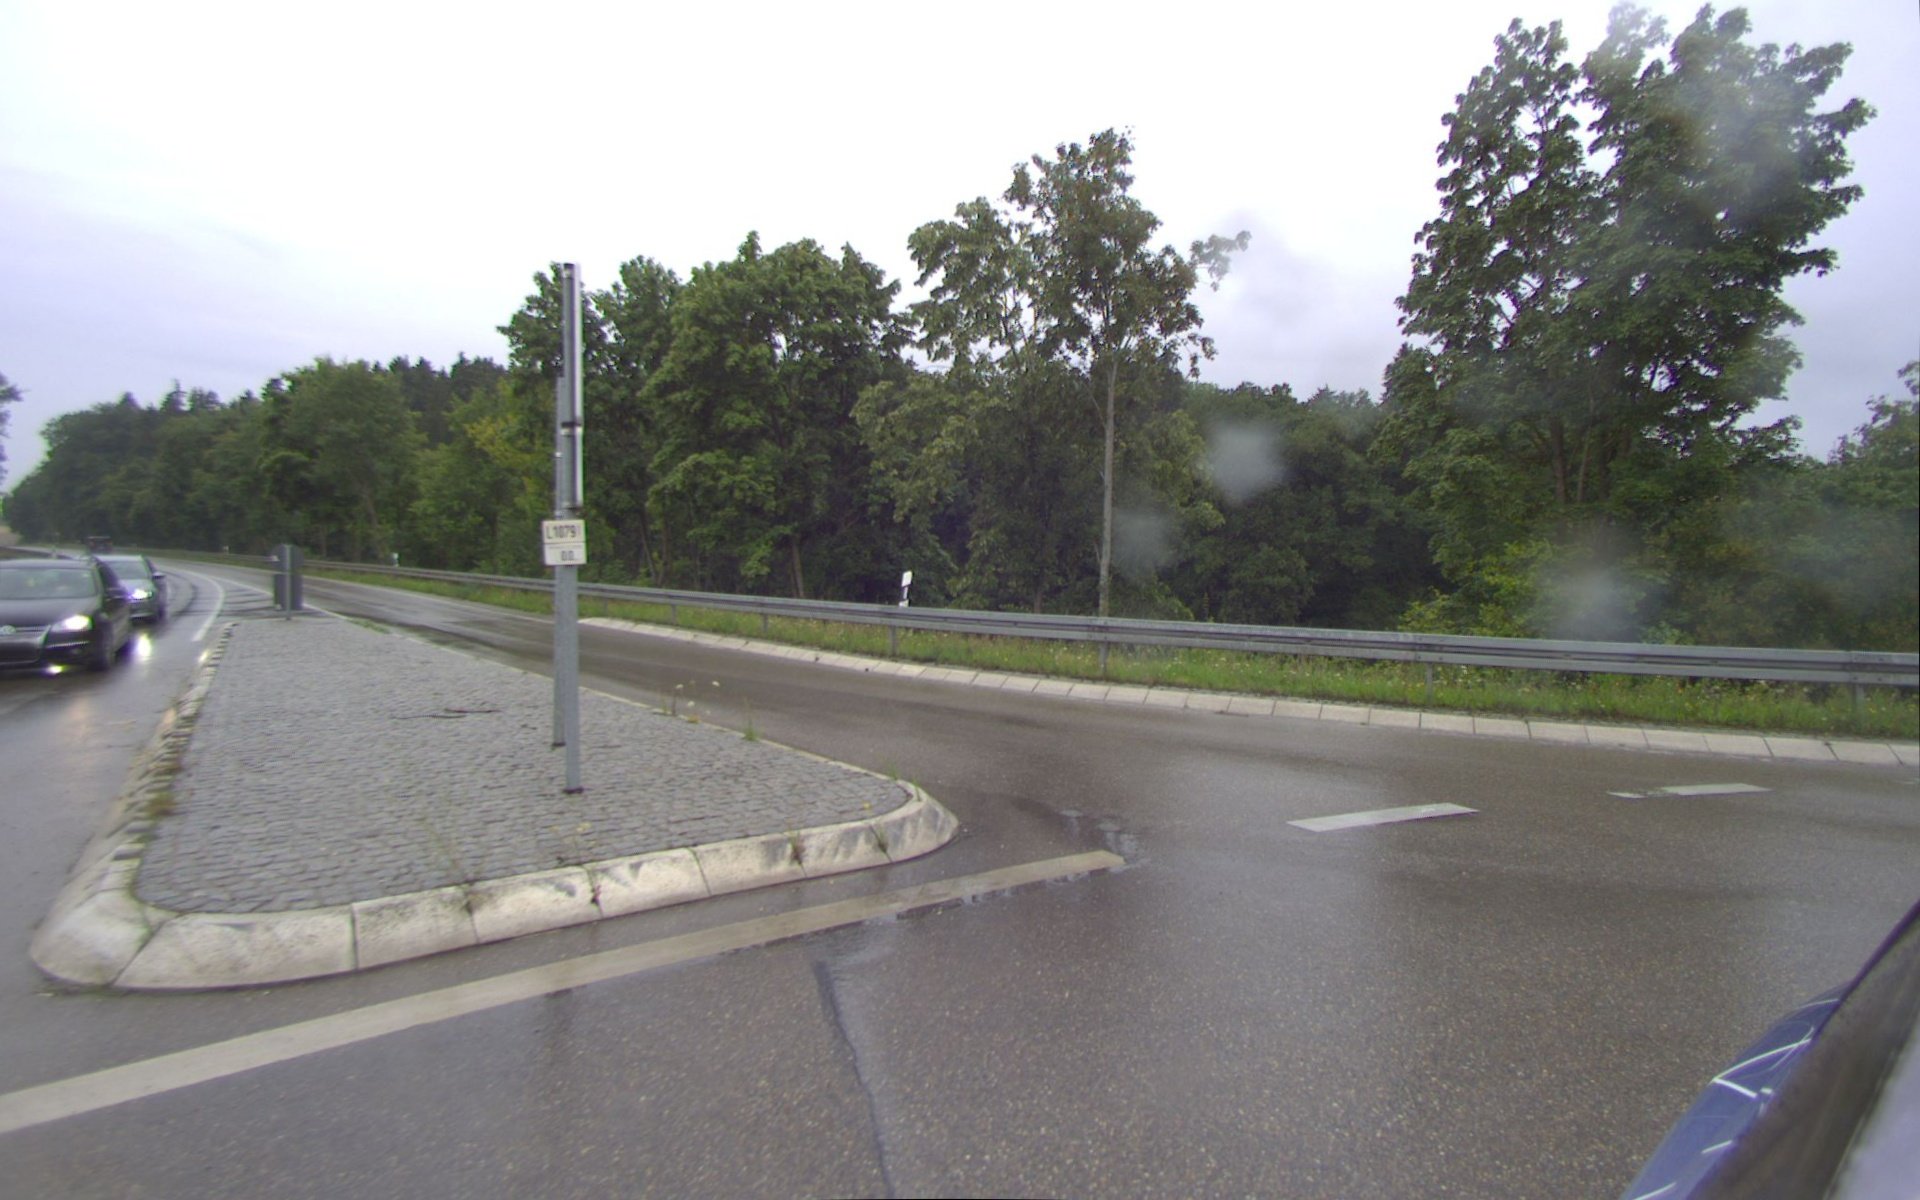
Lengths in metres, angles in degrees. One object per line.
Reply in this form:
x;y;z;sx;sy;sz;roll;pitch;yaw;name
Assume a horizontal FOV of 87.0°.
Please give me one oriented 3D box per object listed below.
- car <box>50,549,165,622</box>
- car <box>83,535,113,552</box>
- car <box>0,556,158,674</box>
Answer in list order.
-18.711;-0.330;22.363;1.732;1.439;4.501;0;1;-38;car
-92.073;-6.047;108.112;3.987;1.594;1.970;6;4;42;car
-12.450;0.127;13.795;1.912;1.388;4.506;1;1;-33;car
